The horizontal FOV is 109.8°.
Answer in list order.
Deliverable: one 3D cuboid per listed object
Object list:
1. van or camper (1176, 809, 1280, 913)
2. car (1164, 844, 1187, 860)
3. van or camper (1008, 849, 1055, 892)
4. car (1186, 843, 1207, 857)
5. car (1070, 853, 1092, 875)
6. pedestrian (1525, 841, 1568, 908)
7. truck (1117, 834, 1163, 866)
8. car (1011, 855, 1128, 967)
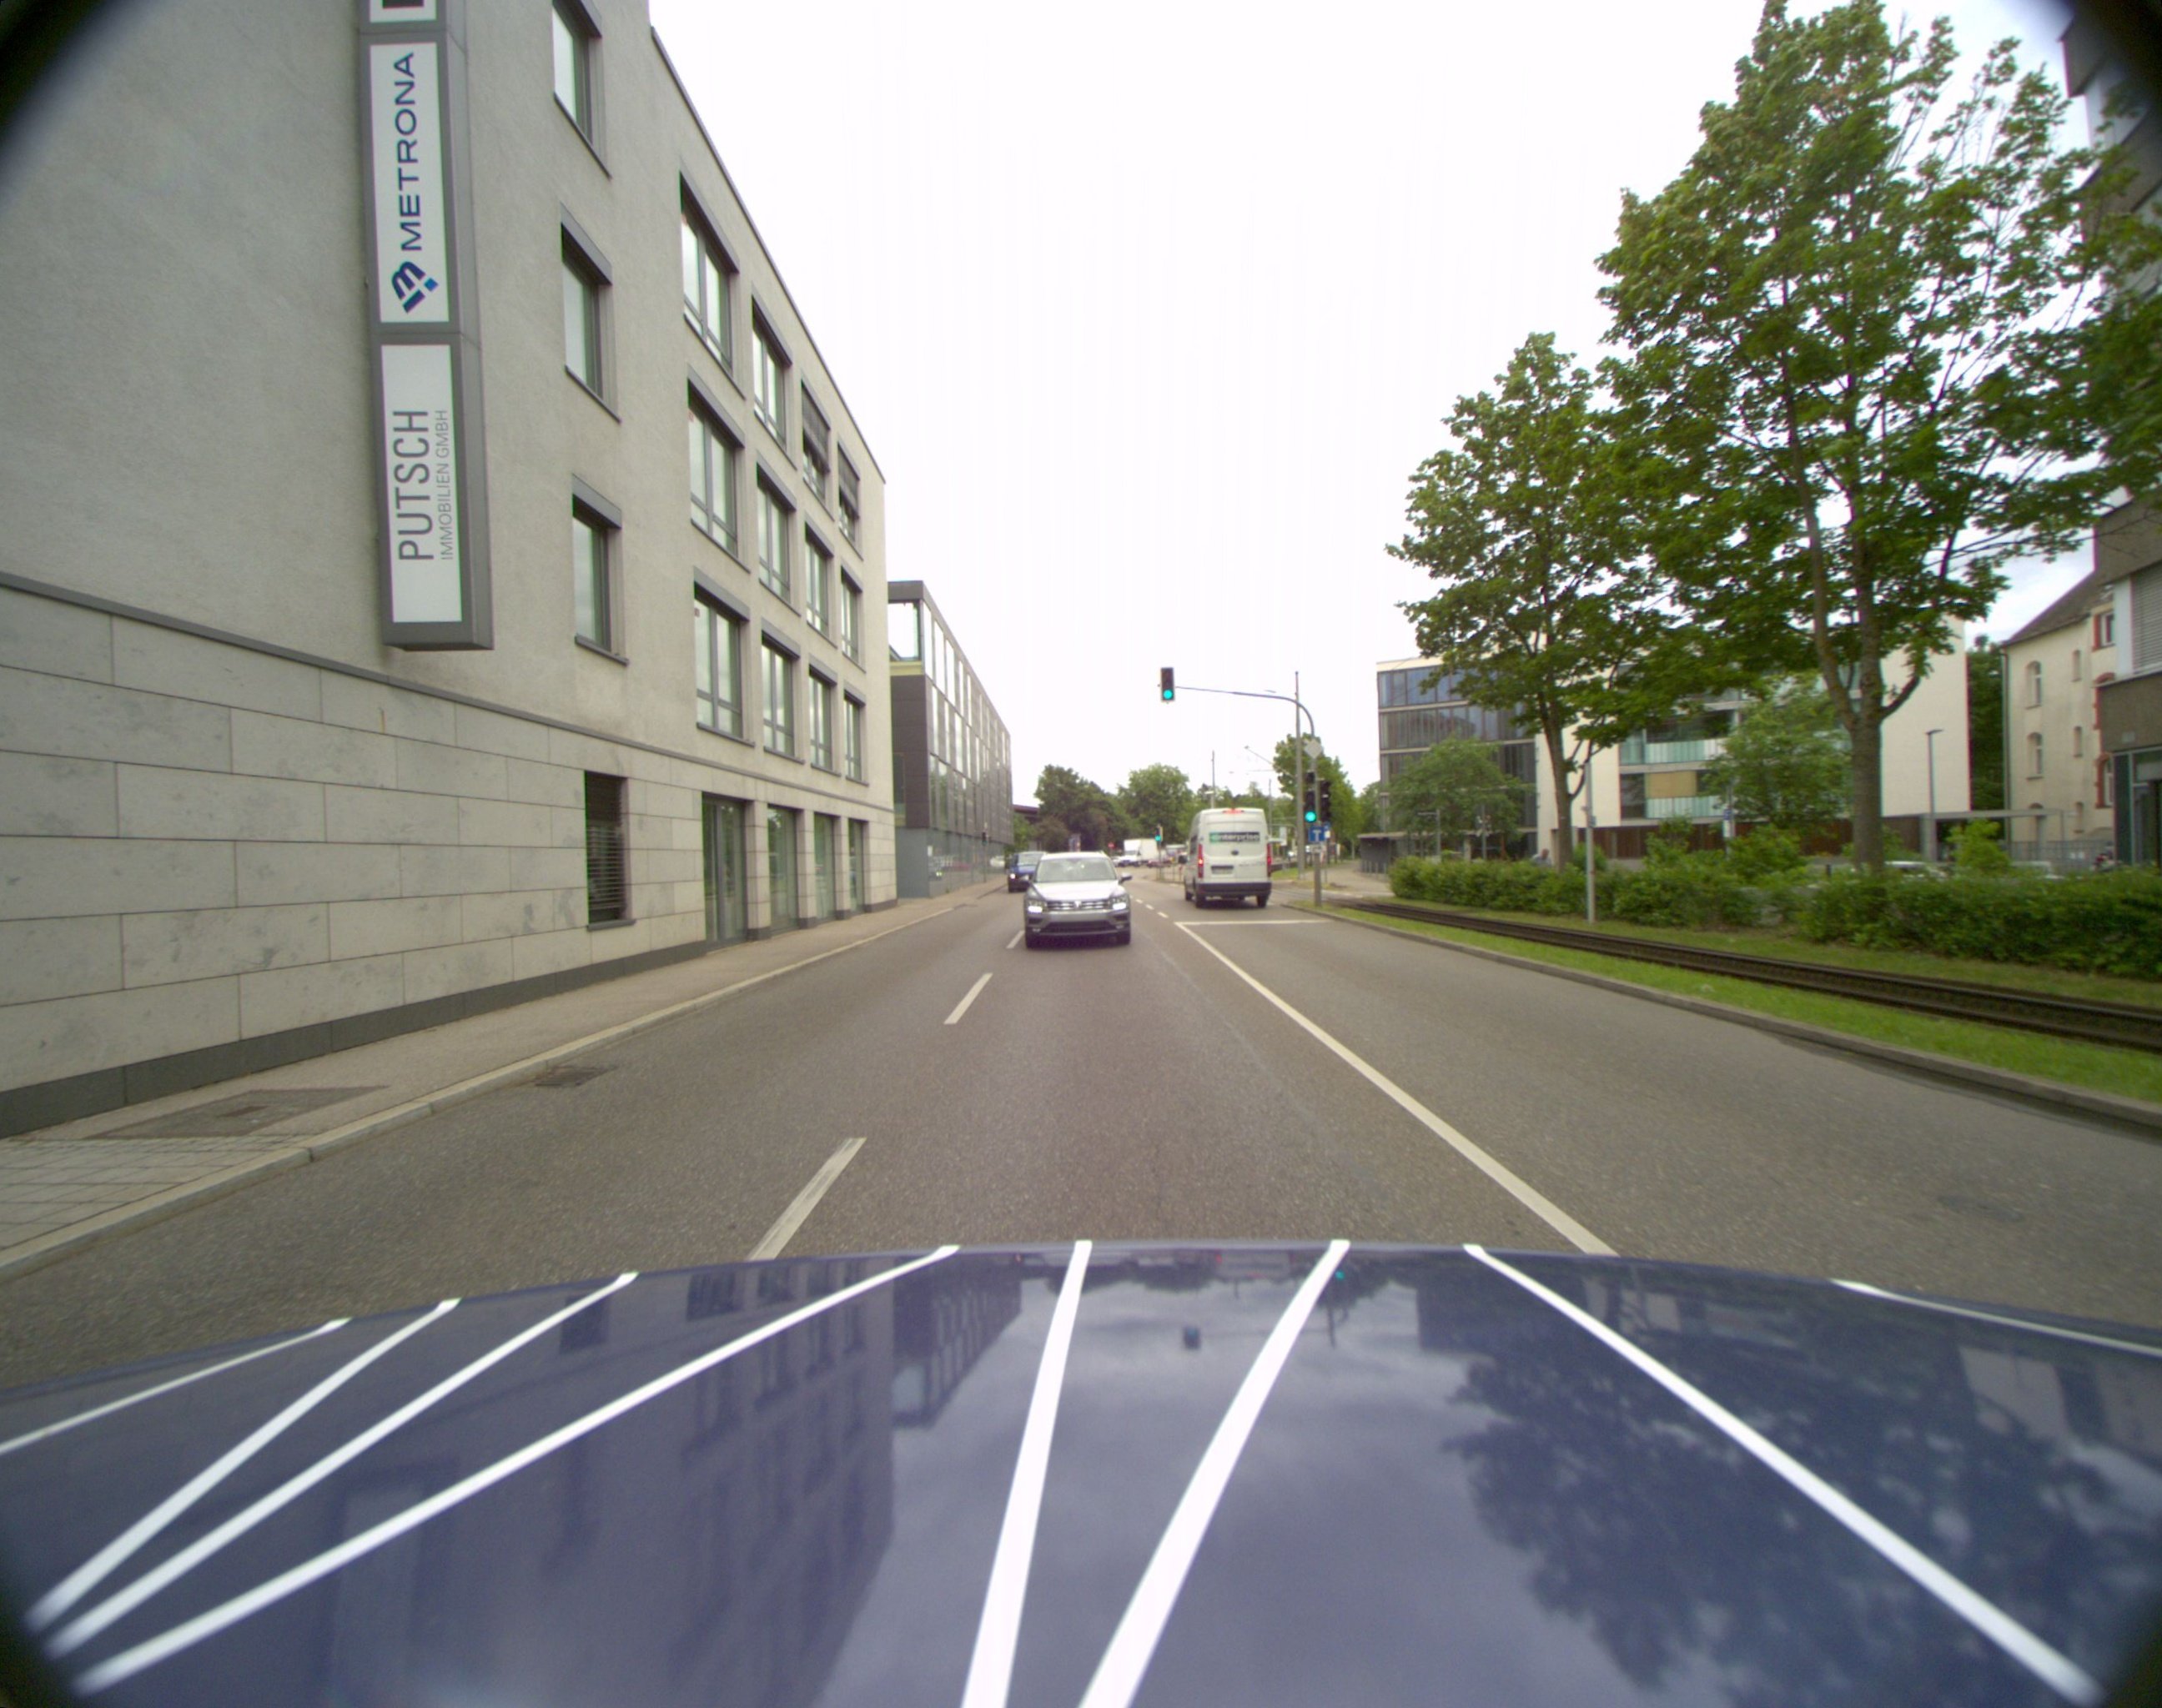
[{"bbox_3d":[4.308,0.152,23.384,2.112,2.718,6.152,-2,1,2],"label":"van or camper"},{"bbox_3d":[13.134,-0.314,105.349,1.995,2.002,4.006,-2,1,24],"label":"car"},{"bbox_3d":[-2.335,0.749,37.214,1.864,1.900,5.032,-2,0,1],"label":"van or camper"},{"bbox_3d":[17.303,-0.587,113.880,1.995,2.002,4.006,-2,1,24],"label":"car"},{"bbox_3d":[0.048,0.931,73.023,1.998,2.002,4.000,-2,1,1],"label":"car"},{"bbox_3d":[12.751,0.550,20.820,0.680,1.795,0.731,-2,1,-4],"label":"pedestrian"},{"bbox_3d":[7.380,-0.539,94.237,2.317,3.626,8.024,-2,1,31],"label":"truck"},{"bbox_3d":[-0.157,0.902,14.228,1.798,1.716,4.458,-2,0,1],"label":"car"}]
